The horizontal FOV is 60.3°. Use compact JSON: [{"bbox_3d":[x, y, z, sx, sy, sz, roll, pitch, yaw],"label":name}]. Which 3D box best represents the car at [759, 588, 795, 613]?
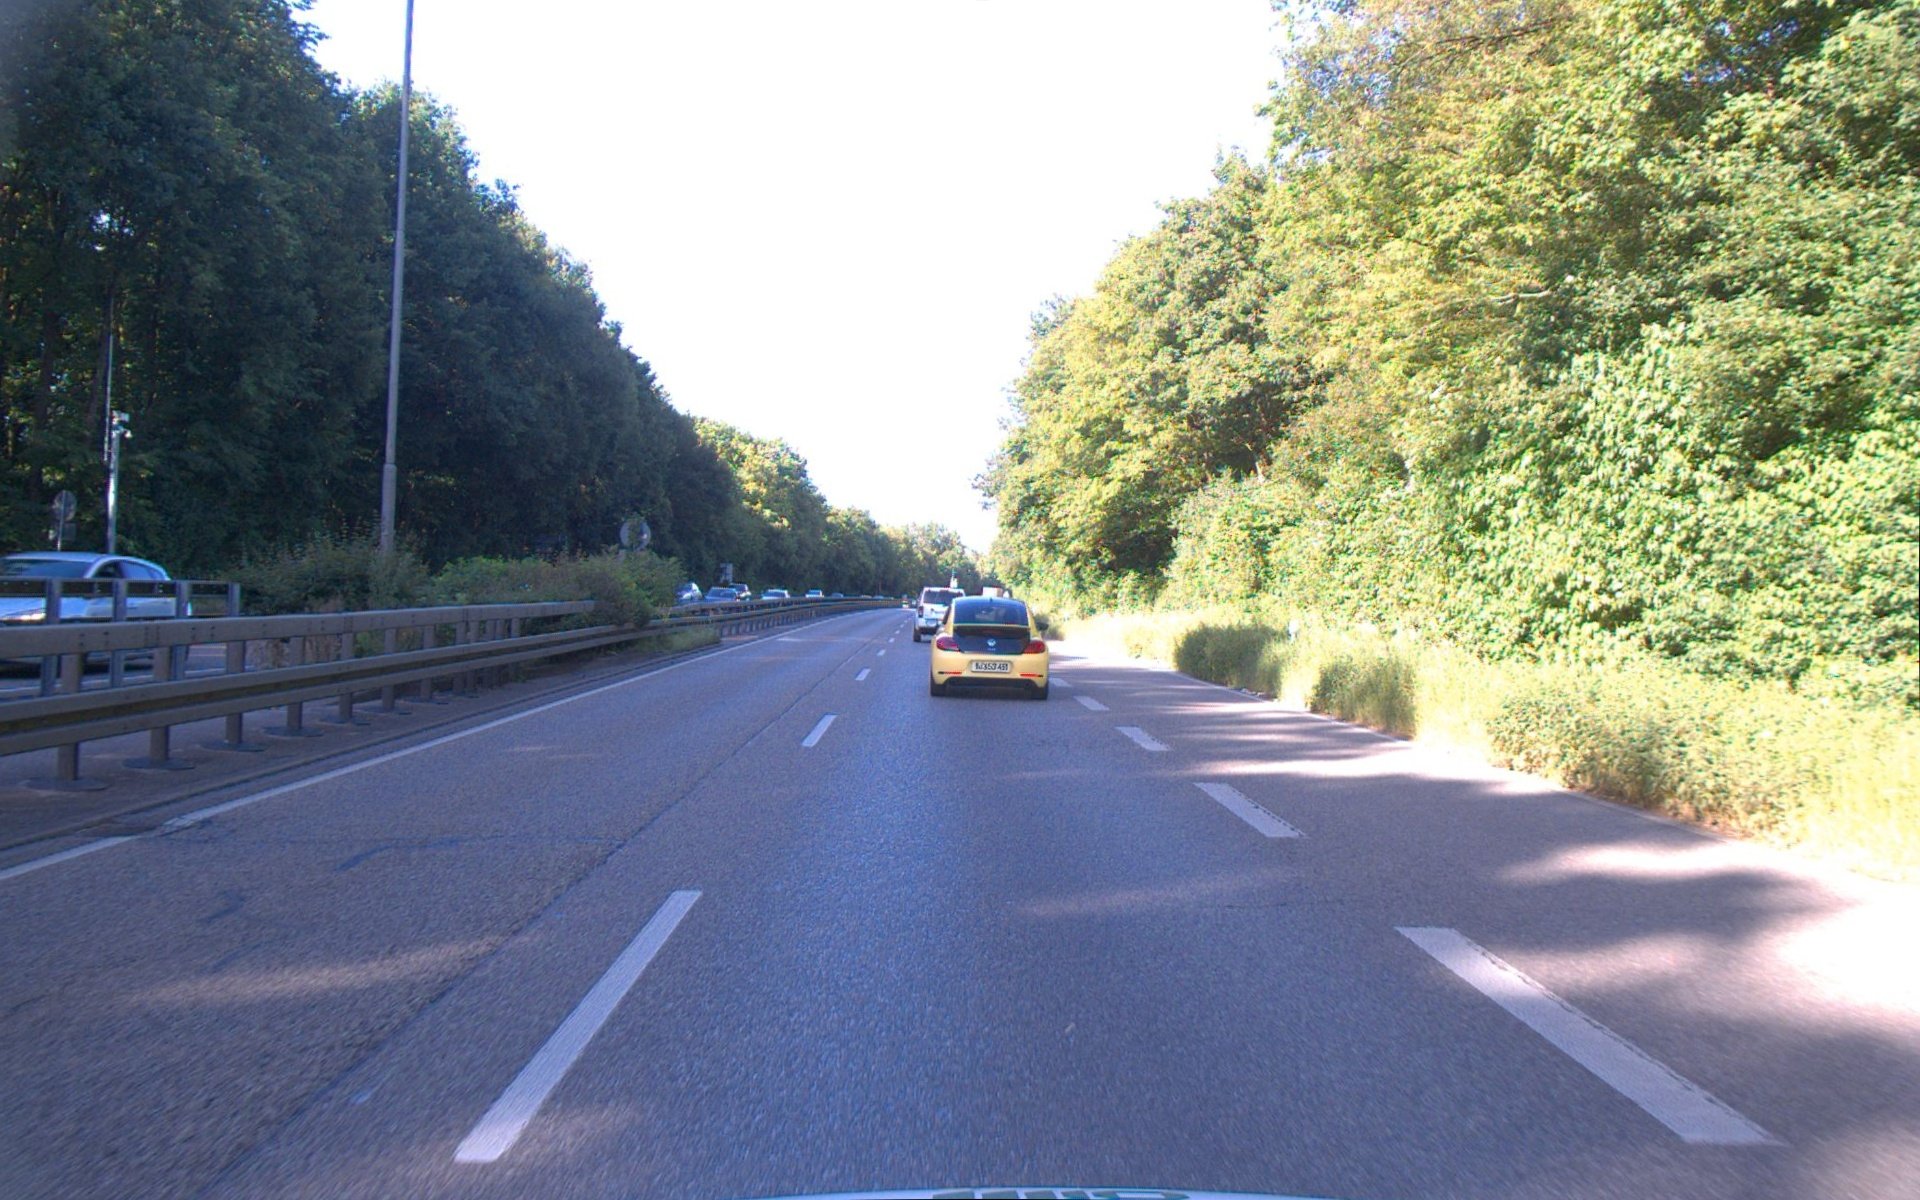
[{"bbox_3d":[-12.363,0.048,111.834,1.953,1.587,4.706,1,0,-1],"label":"car"}]

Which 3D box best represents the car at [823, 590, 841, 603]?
[{"bbox_3d":[-16.197,-0.453,209.519,1.952,1.489,4.000,1,0,1],"label":"car"}]

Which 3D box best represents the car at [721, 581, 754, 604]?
[{"bbox_3d":[-17.486,-0.563,130.119,1.953,1.728,4.907,1,0,-1],"label":"car"}]

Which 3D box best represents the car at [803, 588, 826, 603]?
[{"bbox_3d":[-16.403,-0.534,186.777,1.952,1.651,4.790,1,0,2],"label":"car"}]

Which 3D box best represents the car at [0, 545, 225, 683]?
[{"bbox_3d":[-10.991,0.125,20.610,1.695,1.515,4.396,2,0,-1],"label":"car"}]

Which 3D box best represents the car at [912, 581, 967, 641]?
[{"bbox_3d":[-0.645,0.362,54.354,1.705,1.862,3.422,1,0,1],"label":"car"}]

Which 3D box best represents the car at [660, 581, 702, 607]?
[{"bbox_3d":[-18.283,-0.405,108.556,1.953,1.628,4.706,1,0,-1],"label":"car"}]

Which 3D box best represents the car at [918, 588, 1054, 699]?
[{"bbox_3d":[0.444,0.629,25.239,1.899,1.534,3.423,1,0,2],"label":"car"}]
